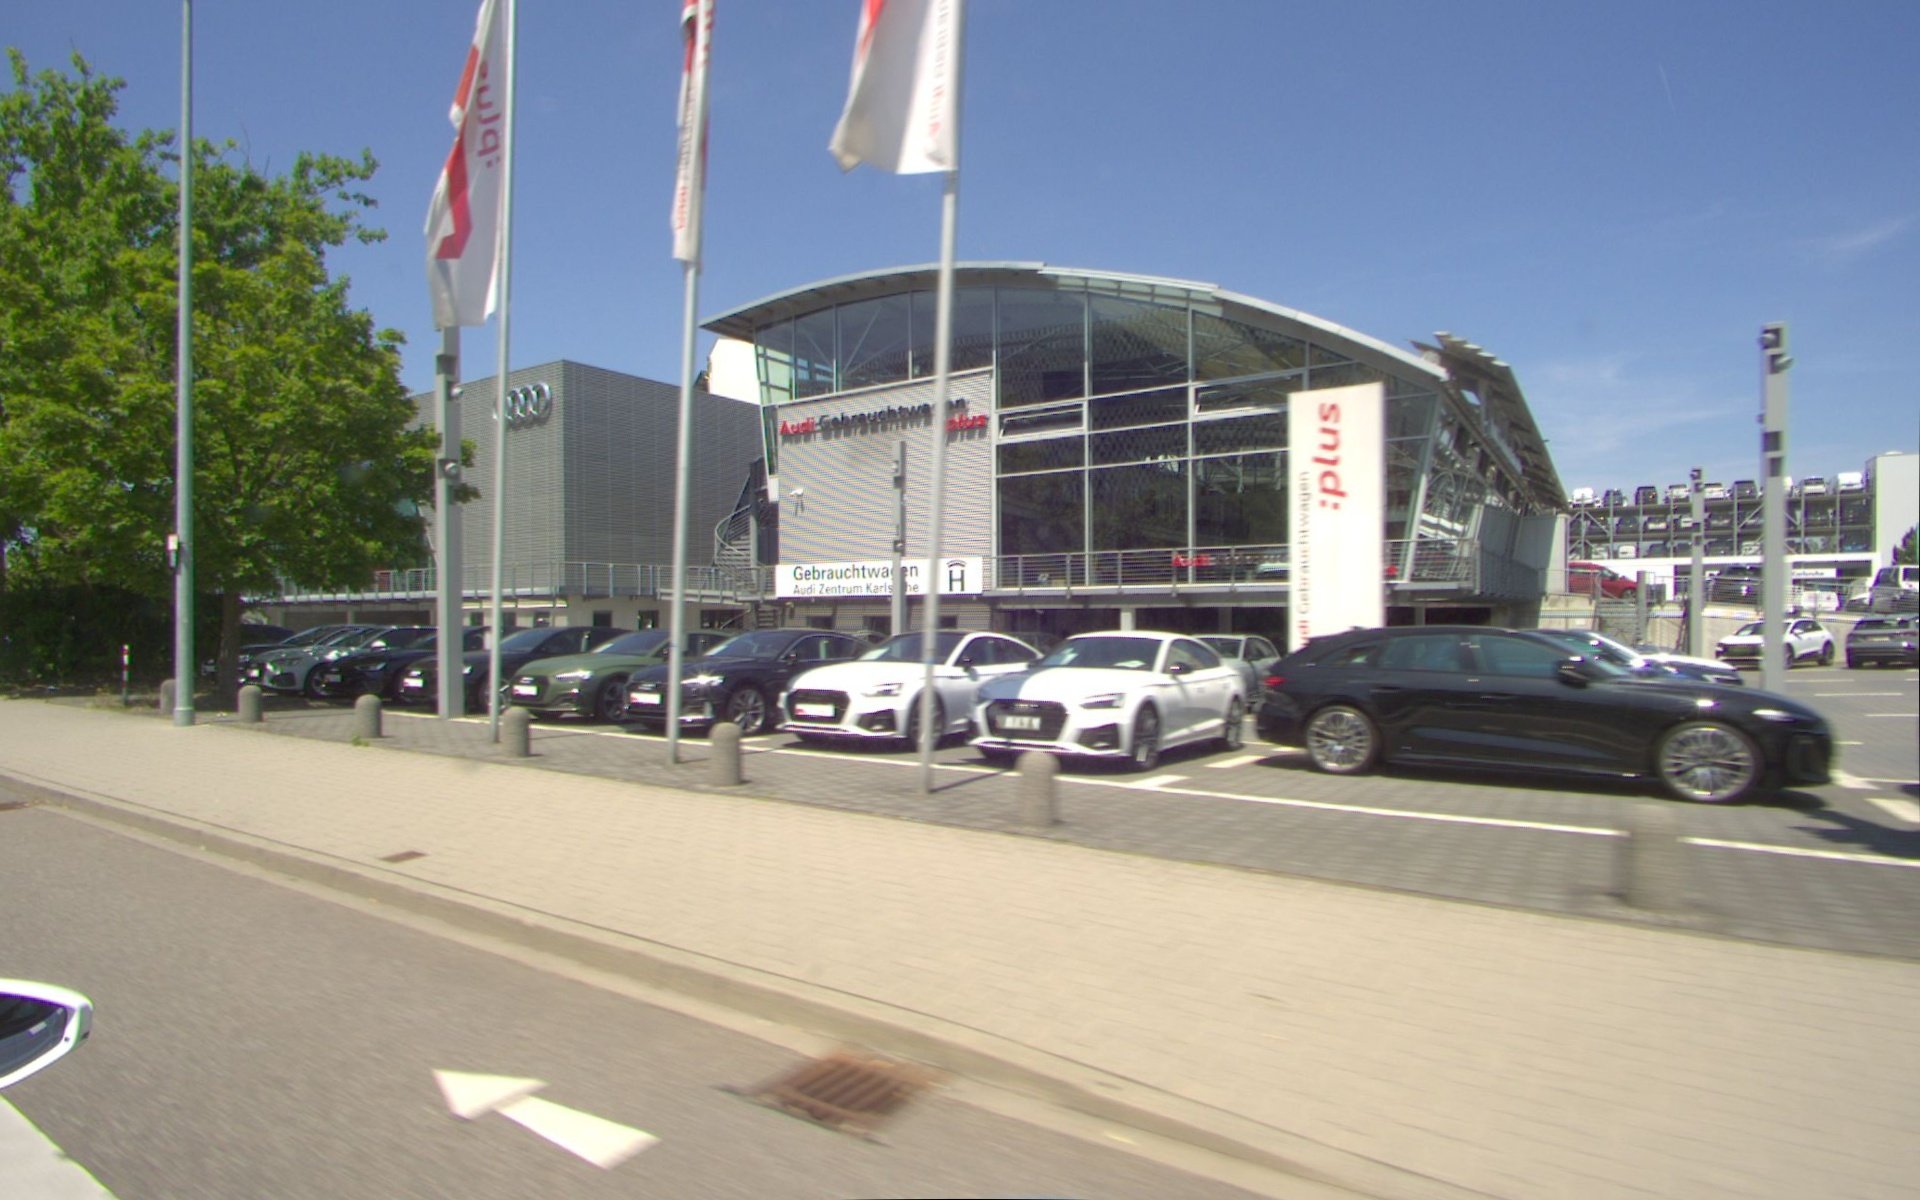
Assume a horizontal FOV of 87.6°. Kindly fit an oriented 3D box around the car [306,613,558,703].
[{"bbox_3d":[-9.587,1.047,18.434,1.808,1.471,3.675,0,-3,33],"label":"car"}]

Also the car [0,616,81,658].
[{"bbox_3d":[-35.695,1.313,37.230,1.754,1.396,4.127,0,-6,33],"label":"car"}]

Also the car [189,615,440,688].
[{"bbox_3d":[-13.909,1.123,21.828,1.791,1.419,4.225,0,-3,33],"label":"car"}]

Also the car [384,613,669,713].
[{"bbox_3d":[-7.184,1.042,17.005,1.843,1.471,4.094,0,-3,33],"label":"car"}]

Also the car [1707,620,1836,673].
[{"bbox_3d":[26.430,1.462,32.607,3.937,1.591,1.843,0,0,-27],"label":"car"}]

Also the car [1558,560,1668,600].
[{"bbox_3d":[30.290,-0.909,46.599,4.083,1.745,1.907,0,0,27],"label":"car"}]

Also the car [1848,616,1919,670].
[{"bbox_3d":[28.791,1.271,30.539,3.752,1.523,1.678,0,-2,-35],"label":"car"}]

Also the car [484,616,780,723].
[{"bbox_3d":[-4.896,1.041,15.511,1.843,1.422,4.094,0,-3,33],"label":"car"}]

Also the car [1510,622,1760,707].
[{"bbox_3d":[14.312,1.319,21.414,4.287,1.647,1.870,-1,-3,37],"label":"car"}]

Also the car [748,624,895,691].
[{"bbox_3d":[-3.732,1.576,27.591,1.825,1.675,3.979,0,-3,33],"label":"car"}]

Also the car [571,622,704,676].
[{"bbox_3d":[-10.215,1.574,31.976,1.618,1.603,3.892,0,-3,33],"label":"car"}]

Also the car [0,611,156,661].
[{"bbox_3d":[-29.429,1.218,32.936,1.891,1.424,4.216,0,-5,33],"label":"car"}]

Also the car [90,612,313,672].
[{"bbox_3d":[-20.485,1.175,27.248,1.808,1.409,4.444,0,-5,33],"label":"car"}]

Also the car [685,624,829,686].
[{"bbox_3d":[-5.828,1.594,29.127,1.825,1.675,3.979,0,-3,33],"label":"car"}]

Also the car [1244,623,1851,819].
[{"bbox_3d":[5.270,0.979,9.539,4.600,1.437,1.858,-1,-3,36],"label":"car"}]

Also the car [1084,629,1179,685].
[{"bbox_3d":[5.429,1.773,31.369,1.619,1.629,3.641,0,-3,33],"label":"car"}]

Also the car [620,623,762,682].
[{"bbox_3d":[-8.119,1.603,30.542,1.825,1.675,3.979,0,-3,33],"label":"car"}]

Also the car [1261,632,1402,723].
[{"bbox_3d":[7.548,1.513,20.132,1.825,1.618,3.979,0,-3,33],"label":"car"}]

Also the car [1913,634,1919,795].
[{"bbox_3d":[8.170,0.898,6.717,1.843,1.407,4.089,0,-3,33],"label":"car"}]

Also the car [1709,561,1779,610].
[{"bbox_3d":[29.264,-0.479,37.500,1.889,1.730,4.559,0,0,36],"label":"car"}]

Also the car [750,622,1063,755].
[{"bbox_3d":[-0.480,1.026,12.524,1.843,1.365,4.093,0,-3,33],"label":"car"}]

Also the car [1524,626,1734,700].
[{"bbox_3d":[15.549,1.400,23.425,3.947,1.560,1.846,0,-1,36],"label":"car"}]

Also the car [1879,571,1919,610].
[{"bbox_3d":[48.672,-0.476,49.472,4.522,1.912,1.904,0,0,32],"label":"car"}]

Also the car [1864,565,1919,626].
[{"bbox_3d":[33.521,-0.131,34.942,1.885,1.992,5.227,0,0,31],"label":"car"}]

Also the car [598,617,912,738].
[{"bbox_3d":[-2.653,1.019,13.947,1.843,1.407,4.219,0,-3,33],"label":"car"}]

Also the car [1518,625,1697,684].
[{"bbox_3d":[16.671,1.361,25.873,3.769,1.364,1.668,0,-1,36],"label":"car"}]

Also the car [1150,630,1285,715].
[{"bbox_3d":[5.670,1.531,21.702,1.633,1.642,3.979,0,-3,33],"label":"car"}]

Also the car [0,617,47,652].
[{"bbox_3d":[-39.900,1.320,40.342,1.891,1.358,4.216,0,-5,33],"label":"car"}]

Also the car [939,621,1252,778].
[{"bbox_3d":[1.690,0.993,11.078,1.848,1.381,4.089,0,-3,33],"label":"car"}]

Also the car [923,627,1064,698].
[{"bbox_3d":[0.906,1.522,24.547,1.611,1.592,3.976,0,-3,33],"label":"car"}]

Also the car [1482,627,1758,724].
[{"bbox_3d":[12.504,1.374,19.165,4.252,1.647,1.870,-1,-3,37],"label":"car"}]

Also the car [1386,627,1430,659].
[{"bbox_3d":[23.593,2.279,52.669,1.589,1.629,3.506,0,-3,33],"label":"car"}]

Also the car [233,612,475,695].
[{"bbox_3d":[-11.917,1.057,19.889,1.808,1.471,3.675,0,-3,33],"label":"car"}]

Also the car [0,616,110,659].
[{"bbox_3d":[-33.417,1.321,35.794,1.961,1.386,4.216,0,-5,33],"label":"car"}]

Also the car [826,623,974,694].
[{"bbox_3d":[-1.474,1.507,26.022,1.825,1.675,3.979,0,-3,33],"label":"car"}]

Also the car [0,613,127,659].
[{"bbox_3d":[-31.520,1.229,34.282,1.890,1.424,4.216,0,-4,33],"label":"car"}]

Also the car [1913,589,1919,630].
[{"bbox_3d":[41.904,0.355,42.027,1.971,1.727,3.982,0,-2,31],"label":"car"}]

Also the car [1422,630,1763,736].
[{"bbox_3d":[10.522,1.312,16.921,4.655,1.534,1.870,-1,-3,37],"label":"car"}]

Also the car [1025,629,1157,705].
[{"bbox_3d":[3.124,1.526,23.277,1.619,1.600,3.641,0,-3,33],"label":"car"}]

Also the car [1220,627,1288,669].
[{"bbox_3d":[11.915,1.939,40.454,1.619,1.629,3.641,0,-3,33],"label":"car"}]
